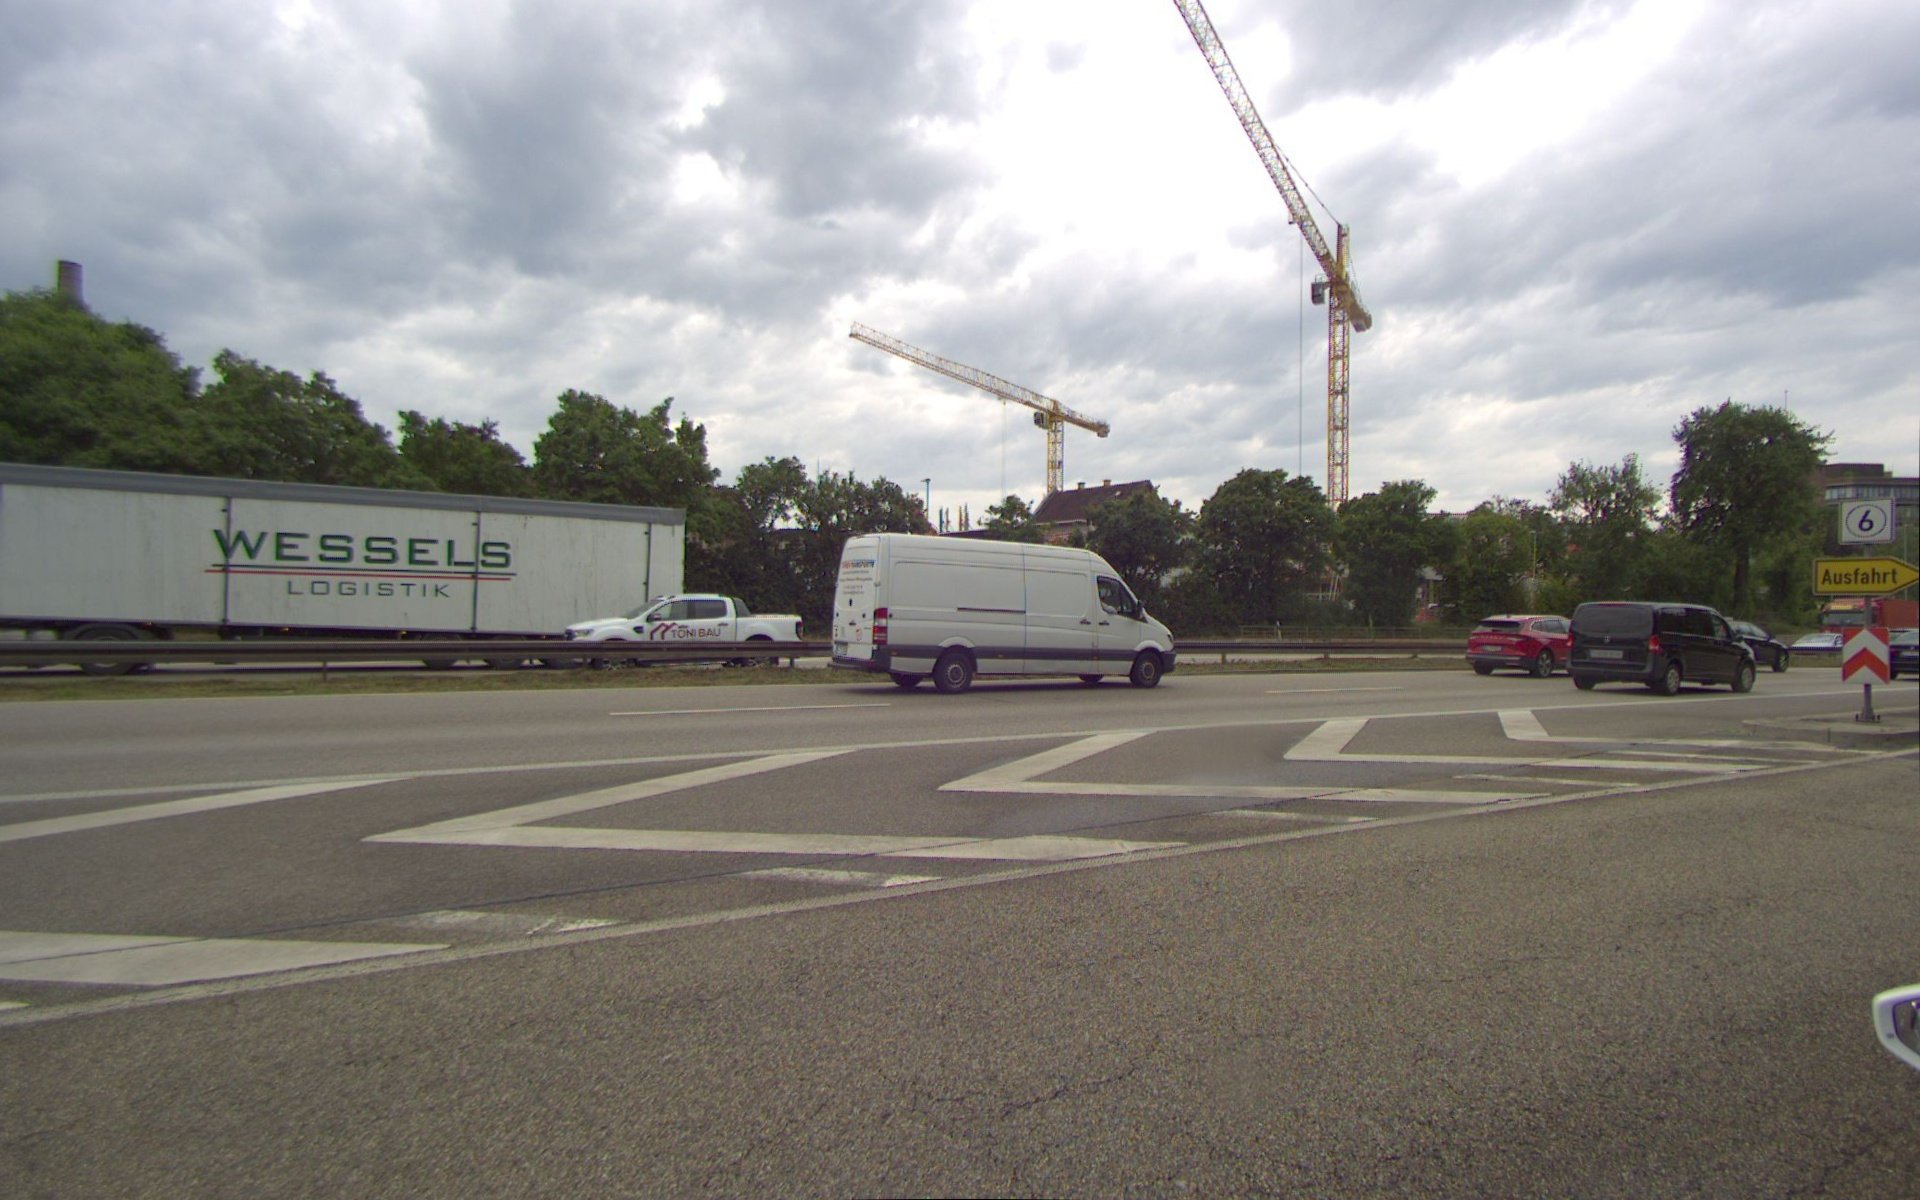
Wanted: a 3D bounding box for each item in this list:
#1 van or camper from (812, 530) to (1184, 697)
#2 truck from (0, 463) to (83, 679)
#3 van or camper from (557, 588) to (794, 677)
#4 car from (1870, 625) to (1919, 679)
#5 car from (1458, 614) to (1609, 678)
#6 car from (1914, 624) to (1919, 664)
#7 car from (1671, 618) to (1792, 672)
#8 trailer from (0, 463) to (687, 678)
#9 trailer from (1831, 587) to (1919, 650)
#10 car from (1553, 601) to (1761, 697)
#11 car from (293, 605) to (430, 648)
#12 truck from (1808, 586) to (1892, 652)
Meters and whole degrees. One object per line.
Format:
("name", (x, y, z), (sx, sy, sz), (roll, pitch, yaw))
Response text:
("van or camper", (0.873, 0.292, 18.568), (6.875, 2.656, 2.039), (1, -1, -31))
("truck", (-19.776, -0.568, 19.252), (3.953, 4.044, 2.583), (1, -1, -30))
("van or camper", (-6.317, 0.712, 22.547), (4.849, 1.817, 1.691), (1, -1, -31))
("car", (28.985, 1.530, 29.717), (4.610, 1.476, 1.705), (1, 0, -29))
("car", (15.351, 1.203, 26.864), (3.896, 1.588, 1.759), (1, -1, -29))
("car", (43.120, 1.897, 43.262), (4.257, 1.704, 1.881), (1, -1, -31))
("car", (25.922, 1.482, 33.719), (4.216, 1.657, 1.744), (1, 0, -30))
("trailer", (-13.432, -0.423, 23.023), (13.622, 4.035, 2.581), (1, -1, -31))
("trailer", (64.788, 1.340, 69.472), (13.195, 4.118, 2.751), (1, -1, -30))
("car", (15.257, 1.017, 21.940), (4.757, 1.876, 1.983), (1, 0, -32))
("car", (-17.741, 0.787, 29.868), (3.399, 1.209, 1.532), (1, -1, -31))
("truck", (58.163, 1.254, 65.626), (4.849, 4.118, 2.750), (1, -1, -30))
